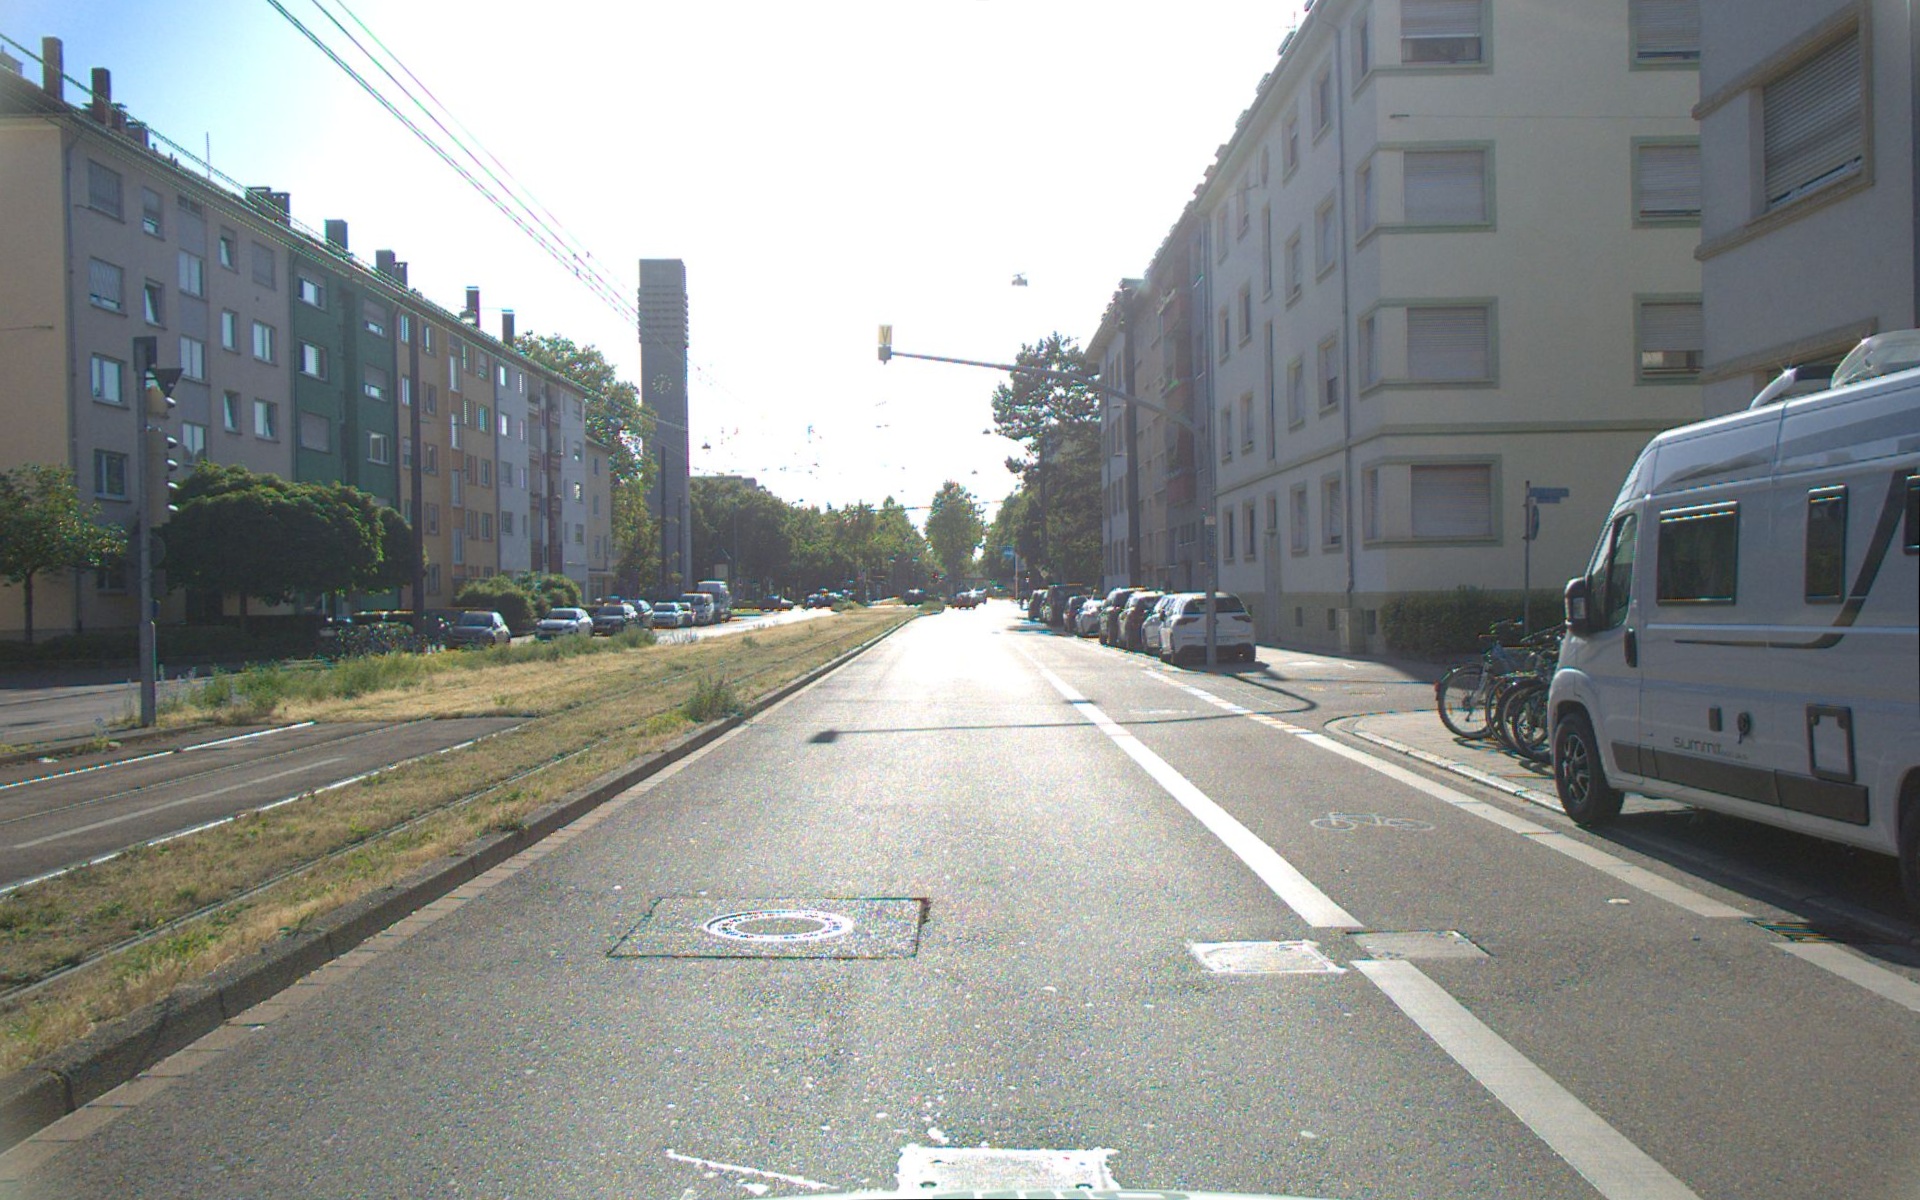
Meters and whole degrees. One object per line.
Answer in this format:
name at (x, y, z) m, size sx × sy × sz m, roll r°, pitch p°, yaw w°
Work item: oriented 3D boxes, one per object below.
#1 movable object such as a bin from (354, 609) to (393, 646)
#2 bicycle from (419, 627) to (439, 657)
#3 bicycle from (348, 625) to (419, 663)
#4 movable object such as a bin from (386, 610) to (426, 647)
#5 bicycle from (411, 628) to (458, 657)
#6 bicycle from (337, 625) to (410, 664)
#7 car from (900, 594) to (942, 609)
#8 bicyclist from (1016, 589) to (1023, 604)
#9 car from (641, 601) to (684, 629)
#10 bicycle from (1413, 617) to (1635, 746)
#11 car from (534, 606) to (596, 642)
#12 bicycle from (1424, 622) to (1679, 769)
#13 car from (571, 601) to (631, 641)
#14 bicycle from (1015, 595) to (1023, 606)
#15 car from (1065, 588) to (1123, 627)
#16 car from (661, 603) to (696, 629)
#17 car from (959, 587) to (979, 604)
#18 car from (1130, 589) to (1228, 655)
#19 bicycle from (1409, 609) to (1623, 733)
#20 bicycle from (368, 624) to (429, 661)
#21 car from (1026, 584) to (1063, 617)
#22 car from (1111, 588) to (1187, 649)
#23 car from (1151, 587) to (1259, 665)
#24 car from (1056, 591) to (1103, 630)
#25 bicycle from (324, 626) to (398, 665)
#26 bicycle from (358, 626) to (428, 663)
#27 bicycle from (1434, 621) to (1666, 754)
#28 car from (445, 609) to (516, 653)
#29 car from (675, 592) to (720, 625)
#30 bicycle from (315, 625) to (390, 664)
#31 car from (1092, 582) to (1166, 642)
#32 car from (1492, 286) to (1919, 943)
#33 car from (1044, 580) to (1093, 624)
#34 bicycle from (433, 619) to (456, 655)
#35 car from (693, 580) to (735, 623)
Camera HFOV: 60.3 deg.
movable object such as a bin at (-22.872, 1.068, 64.526) m, size 1.123 × 1.392 × 1.039 m, roll 1°, pitch 0°, yaw 2°
bicycle at (-17.357, 1.360, 54.091) m, size 0.369 × 0.881 × 2.049 m, roll 1°, pitch 0°, yaw -11°
bicycle at (-17.871, 1.369, 51.288) m, size 2.004 × 1.111 × 0.616 m, roll 1°, pitch 0°, yaw 6°
movable object such as a bin at (-21.602, 1.094, 64.504) m, size 1.123 × 1.392 × 1.039 m, roll 1°, pitch 0°, yaw 2°
bicycle at (-17.118, 1.367, 53.855) m, size 1.549 × 0.885 × 0.417 m, roll 1°, pitch 0°, yaw 22°
bicycle at (-17.919, 1.355, 50.577) m, size 2.004 × 1.111 × 0.616 m, roll 1°, pitch 0°, yaw 6°
car at (-4.254, 0.163, 181.731) m, size 4.458 × 1.639 × 1.872 m, roll 1°, pitch 1°, yaw -41°
bicyclist at (5.299, -0.290, 147.791) m, size 0.624 × 1.346 × 0.803 m, roll 1°, pitch 0°, yaw 2°
car at (-17.601, 0.870, 98.135) m, size 1.854 × 1.517 × 4.701 m, roll 1°, pitch 1°, yaw -2°
bicycle at (5.206, 0.747, 15.355) m, size 1.884 × 1.106 × 0.471 m, roll -3°, pitch 1°, yaw 44°
car at (-17.366, 1.045, 72.895) m, size 1.693 × 1.480 × 4.376 m, roll 0°, pitch 0°, yaw 0°
bicycle at (4.988, 0.774, 14.050) m, size 1.992 × 1.106 × 0.483 m, roll 2°, pitch 0°, yaw 42°
car at (-18.020, 1.029, 83.226) m, size 1.953 × 1.870 × 4.609 m, roll 1°, pitch 0°, yaw 0°
bicycle at (5.292, 0.050, 147.727) m, size 0.634 × 0.989 × 1.804 m, roll 1°, pitch 0°, yaw 3°
car at (5.007, 0.253, 62.199) m, size 1.668 × 1.297 × 4.302 m, roll -5°, pitch 0°, yaw -1°
car at (-17.632, 0.971, 103.705) m, size 1.660 × 1.541 × 4.324 m, roll 0°, pitch 0°, yaw -3°
car at (0.845, -0.419, 152.772) m, size 1.660 × 1.534 × 3.698 m, roll 1°, pitch 1°, yaw -2°
car at (5.411, 0.512, 41.231) m, size 1.603 × 1.484 × 4.078 m, roll -2°, pitch 1°, yaw -4°
bicycle at (5.344, 0.689, 15.997) m, size 1.884 × 1.105 × 0.471 m, roll -3°, pitch 2°, yaw 43°
bicycle at (-18.114, 1.376, 53.357) m, size 2.008 × 1.111 × 0.615 m, roll 1°, pitch 0°, yaw 27°
car at (4.898, 0.013, 96.462) m, size 1.840 × 1.746 × 4.934 m, roll -4°, pitch 0°, yaw 1°
car at (5.225, 0.480, 46.101) m, size 1.602 × 1.544 × 4.188 m, roll -2°, pitch 1°, yaw 0°
car at (5.182, 0.502, 35.467) m, size 1.659 × 1.484 × 4.379 m, roll -2°, pitch 1°, yaw 0°
car at (5.018, 0.440, 69.834) m, size 1.602 × 1.479 × 3.789 m, roll -4°, pitch 0°, yaw 0°
bicycle at (-18.022, 1.360, 49.759) m, size 2.004 × 1.111 × 0.616 m, roll 1°, pitch 0°, yaw 6°
bicycle at (-17.815, 1.394, 51.989) m, size 2.004 × 1.111 × 0.616 m, roll 1°, pitch 0°, yaw 6°
bicycle at (5.183, 0.770, 14.621) m, size 1.884 × 1.106 × 0.471 m, roll -3°, pitch -4°, yaw 43°
car at (-17.334, 1.095, 59.891) m, size 1.603 × 1.467 × 3.733 m, roll 1°, pitch 0°, yaw -2°
car at (-17.385, 0.554, 109.664) m, size 1.990 × 2.056 × 5.371 m, roll 1°, pitch 0°, yaw 1°
bicycle at (-18.012, 1.317, 49.054) m, size 2.004 × 1.111 × 0.616 m, roll 1°, pitch 0°, yaw 6°
car at (5.211, 0.336, 51.604) m, size 1.603 × 1.676 × 4.372 m, roll -4°, pitch 1°, yaw -2°
car at (5.031, 0.003, 8.943) m, size 2.107 × 2.743 × 6.291 m, roll -3°, pitch 0°, yaw 0°
car at (5.326, 0.090, 81.592) m, size 1.874 × 1.932 × 5.134 m, roll -4°, pitch 0°, yaw -1°
bicycle at (-16.920, 1.199, 54.320) m, size 0.500 × 1.111 × 1.930 m, roll 1°, pitch 0°, yaw -11°
car at (-17.357, 0.063, 116.980) m, size 1.990 × 2.919 × 6.229 m, roll 0°, pitch 0°, yaw 1°
